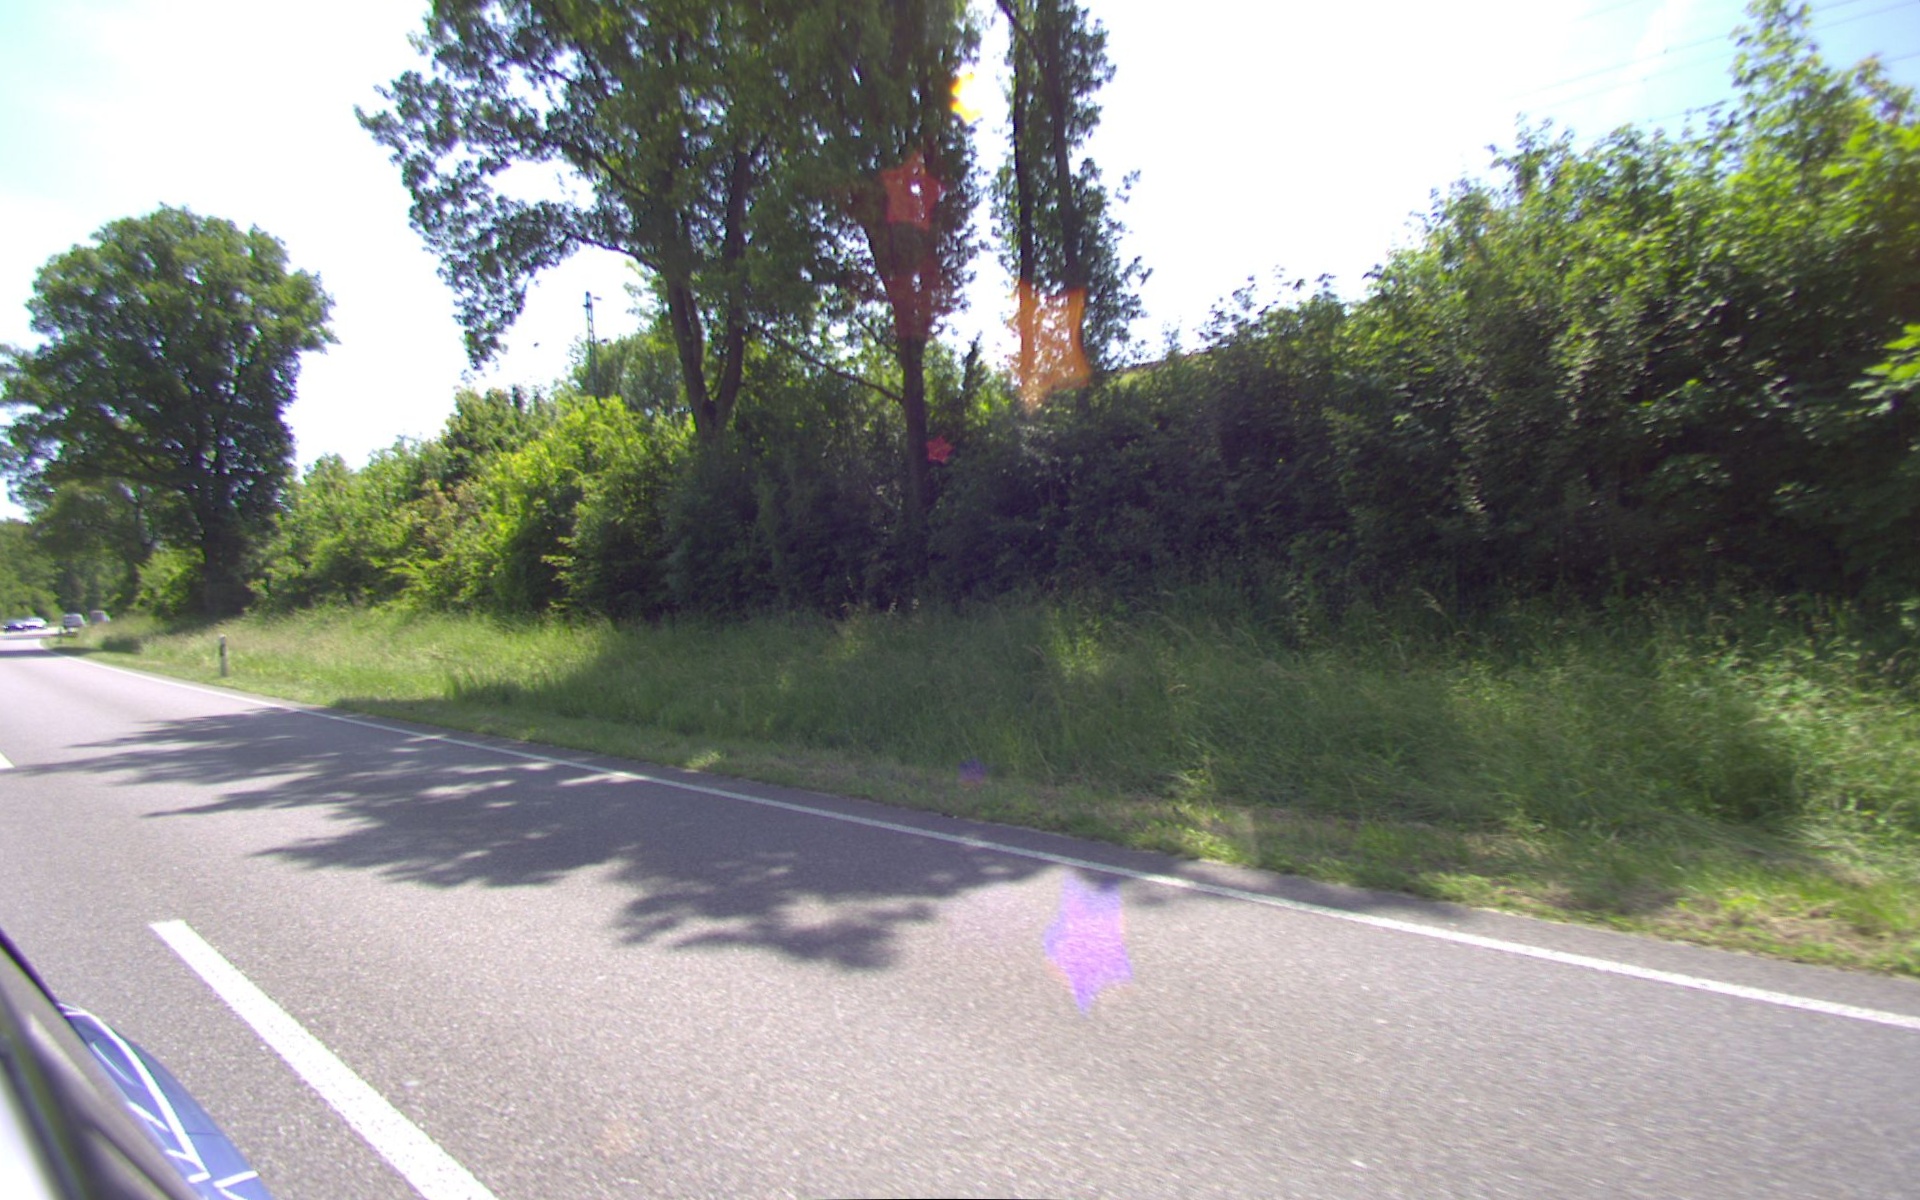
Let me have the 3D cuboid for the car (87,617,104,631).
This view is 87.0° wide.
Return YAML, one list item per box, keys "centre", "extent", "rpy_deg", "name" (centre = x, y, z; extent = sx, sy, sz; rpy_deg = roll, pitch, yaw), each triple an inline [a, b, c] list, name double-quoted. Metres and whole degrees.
- centre: [-128.034, 3.497, 149.880]
  extent: [1.969, 2.029, 4.006]
  rpy_deg: [0, -1, -41]
  name: "car"

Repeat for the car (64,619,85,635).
- centre: [-114.417, 3.464, 130.748]
  extent: [1.969, 2.029, 4.006]
  rpy_deg: [0, -1, -41]
  name: "car"

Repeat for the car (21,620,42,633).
- centre: [-120.334, 3.388, 131.192]
  extent: [1.784, 1.601, 4.007]
  rpy_deg: [0, -1, -39]
  name: "car"

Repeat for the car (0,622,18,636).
- centre: [-109.988, 3.331, 116.786]
  extent: [1.785, 1.601, 4.006]
  rpy_deg: [0, -1, -41]
  name: "car"

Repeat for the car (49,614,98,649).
- centre: [-53.526, 1.895, 61.089]
  extent: [1.971, 2.029, 4.002]
  rpy_deg: [0, -1, -45]
  name: "car"
